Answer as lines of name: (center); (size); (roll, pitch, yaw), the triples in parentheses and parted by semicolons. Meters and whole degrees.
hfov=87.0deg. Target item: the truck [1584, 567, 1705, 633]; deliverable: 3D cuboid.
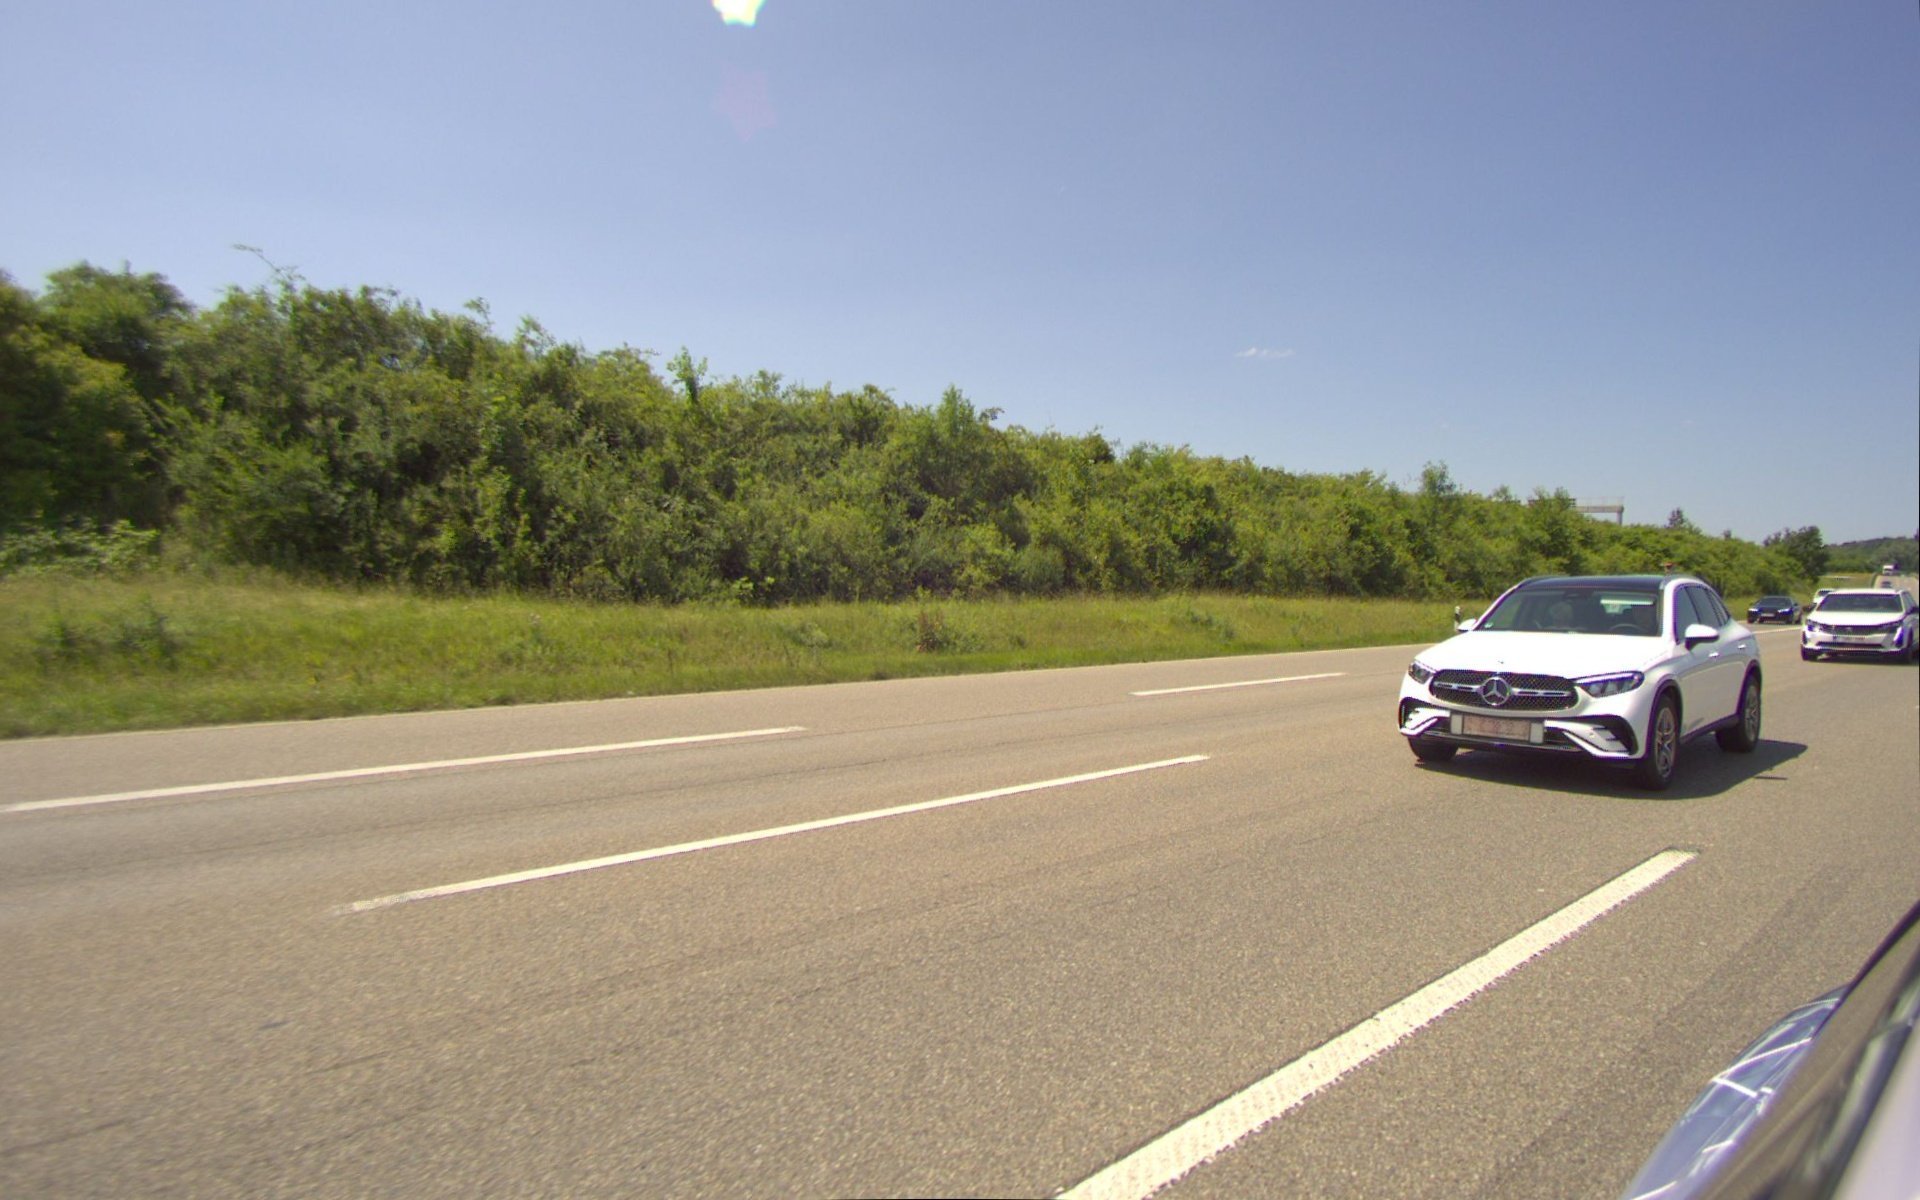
truck: (23.974, -0.045, 35.335); (6.015, 2.118, 2.167); (-1, 2, -43)

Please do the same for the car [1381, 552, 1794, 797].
car: (5.823, 0.498, 9.142); (4.555, 1.677, 1.908); (0, 0, -41)

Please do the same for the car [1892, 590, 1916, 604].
car: (124.279, -0.397, 133.174); (4.539, 1.650, 1.980); (-2, 1, -43)

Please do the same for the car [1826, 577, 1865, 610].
car: (61.868, -0.455, 70.711); (1.992, 2.199, 4.819); (1, 1, 42)

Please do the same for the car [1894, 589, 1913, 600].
car: (154.030, -0.953, 165.175); (4.539, 1.650, 1.980); (-2, 1, -43)

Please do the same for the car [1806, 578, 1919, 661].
car: (20.801, 0.361, 22.877); (4.537, 1.650, 1.896); (-2, 1, -41)
